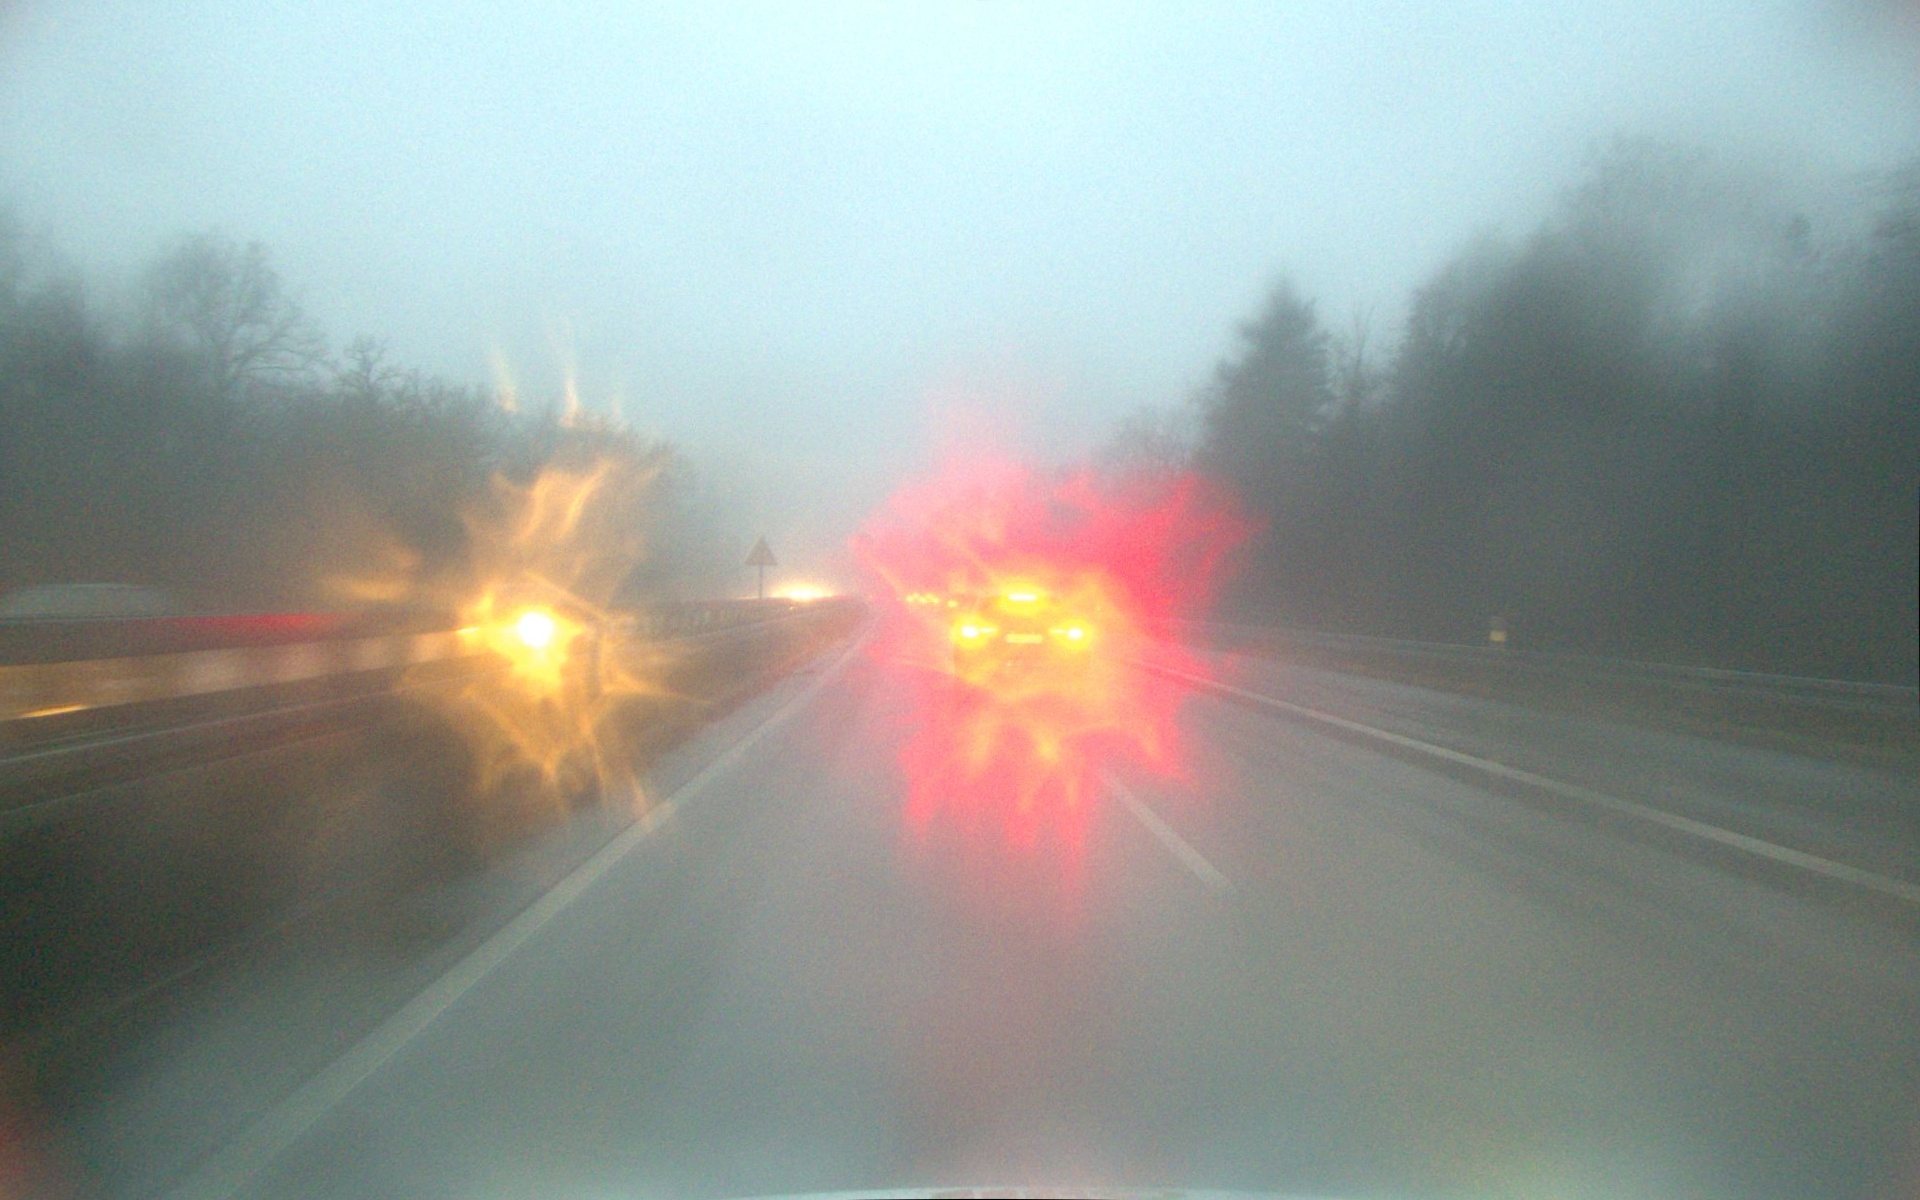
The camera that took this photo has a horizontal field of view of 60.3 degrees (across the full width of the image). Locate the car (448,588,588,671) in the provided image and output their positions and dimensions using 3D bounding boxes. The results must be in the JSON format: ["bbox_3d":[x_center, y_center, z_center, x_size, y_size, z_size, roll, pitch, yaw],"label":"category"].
[{"bbox_3d":[-8.970,0.565,33.918,1.796,1.576,4.526,1,0,-3],"label":"car"}]

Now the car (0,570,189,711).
[{"bbox_3d":[-11.880,0.506,22.134,1.511,1.725,3.500,1,0,-1],"label":"car"}]

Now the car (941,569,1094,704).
[{"bbox_3d":[0.770,0.513,24.606,1.886,1.823,3.938,1,0,-4],"label":"car"}]
